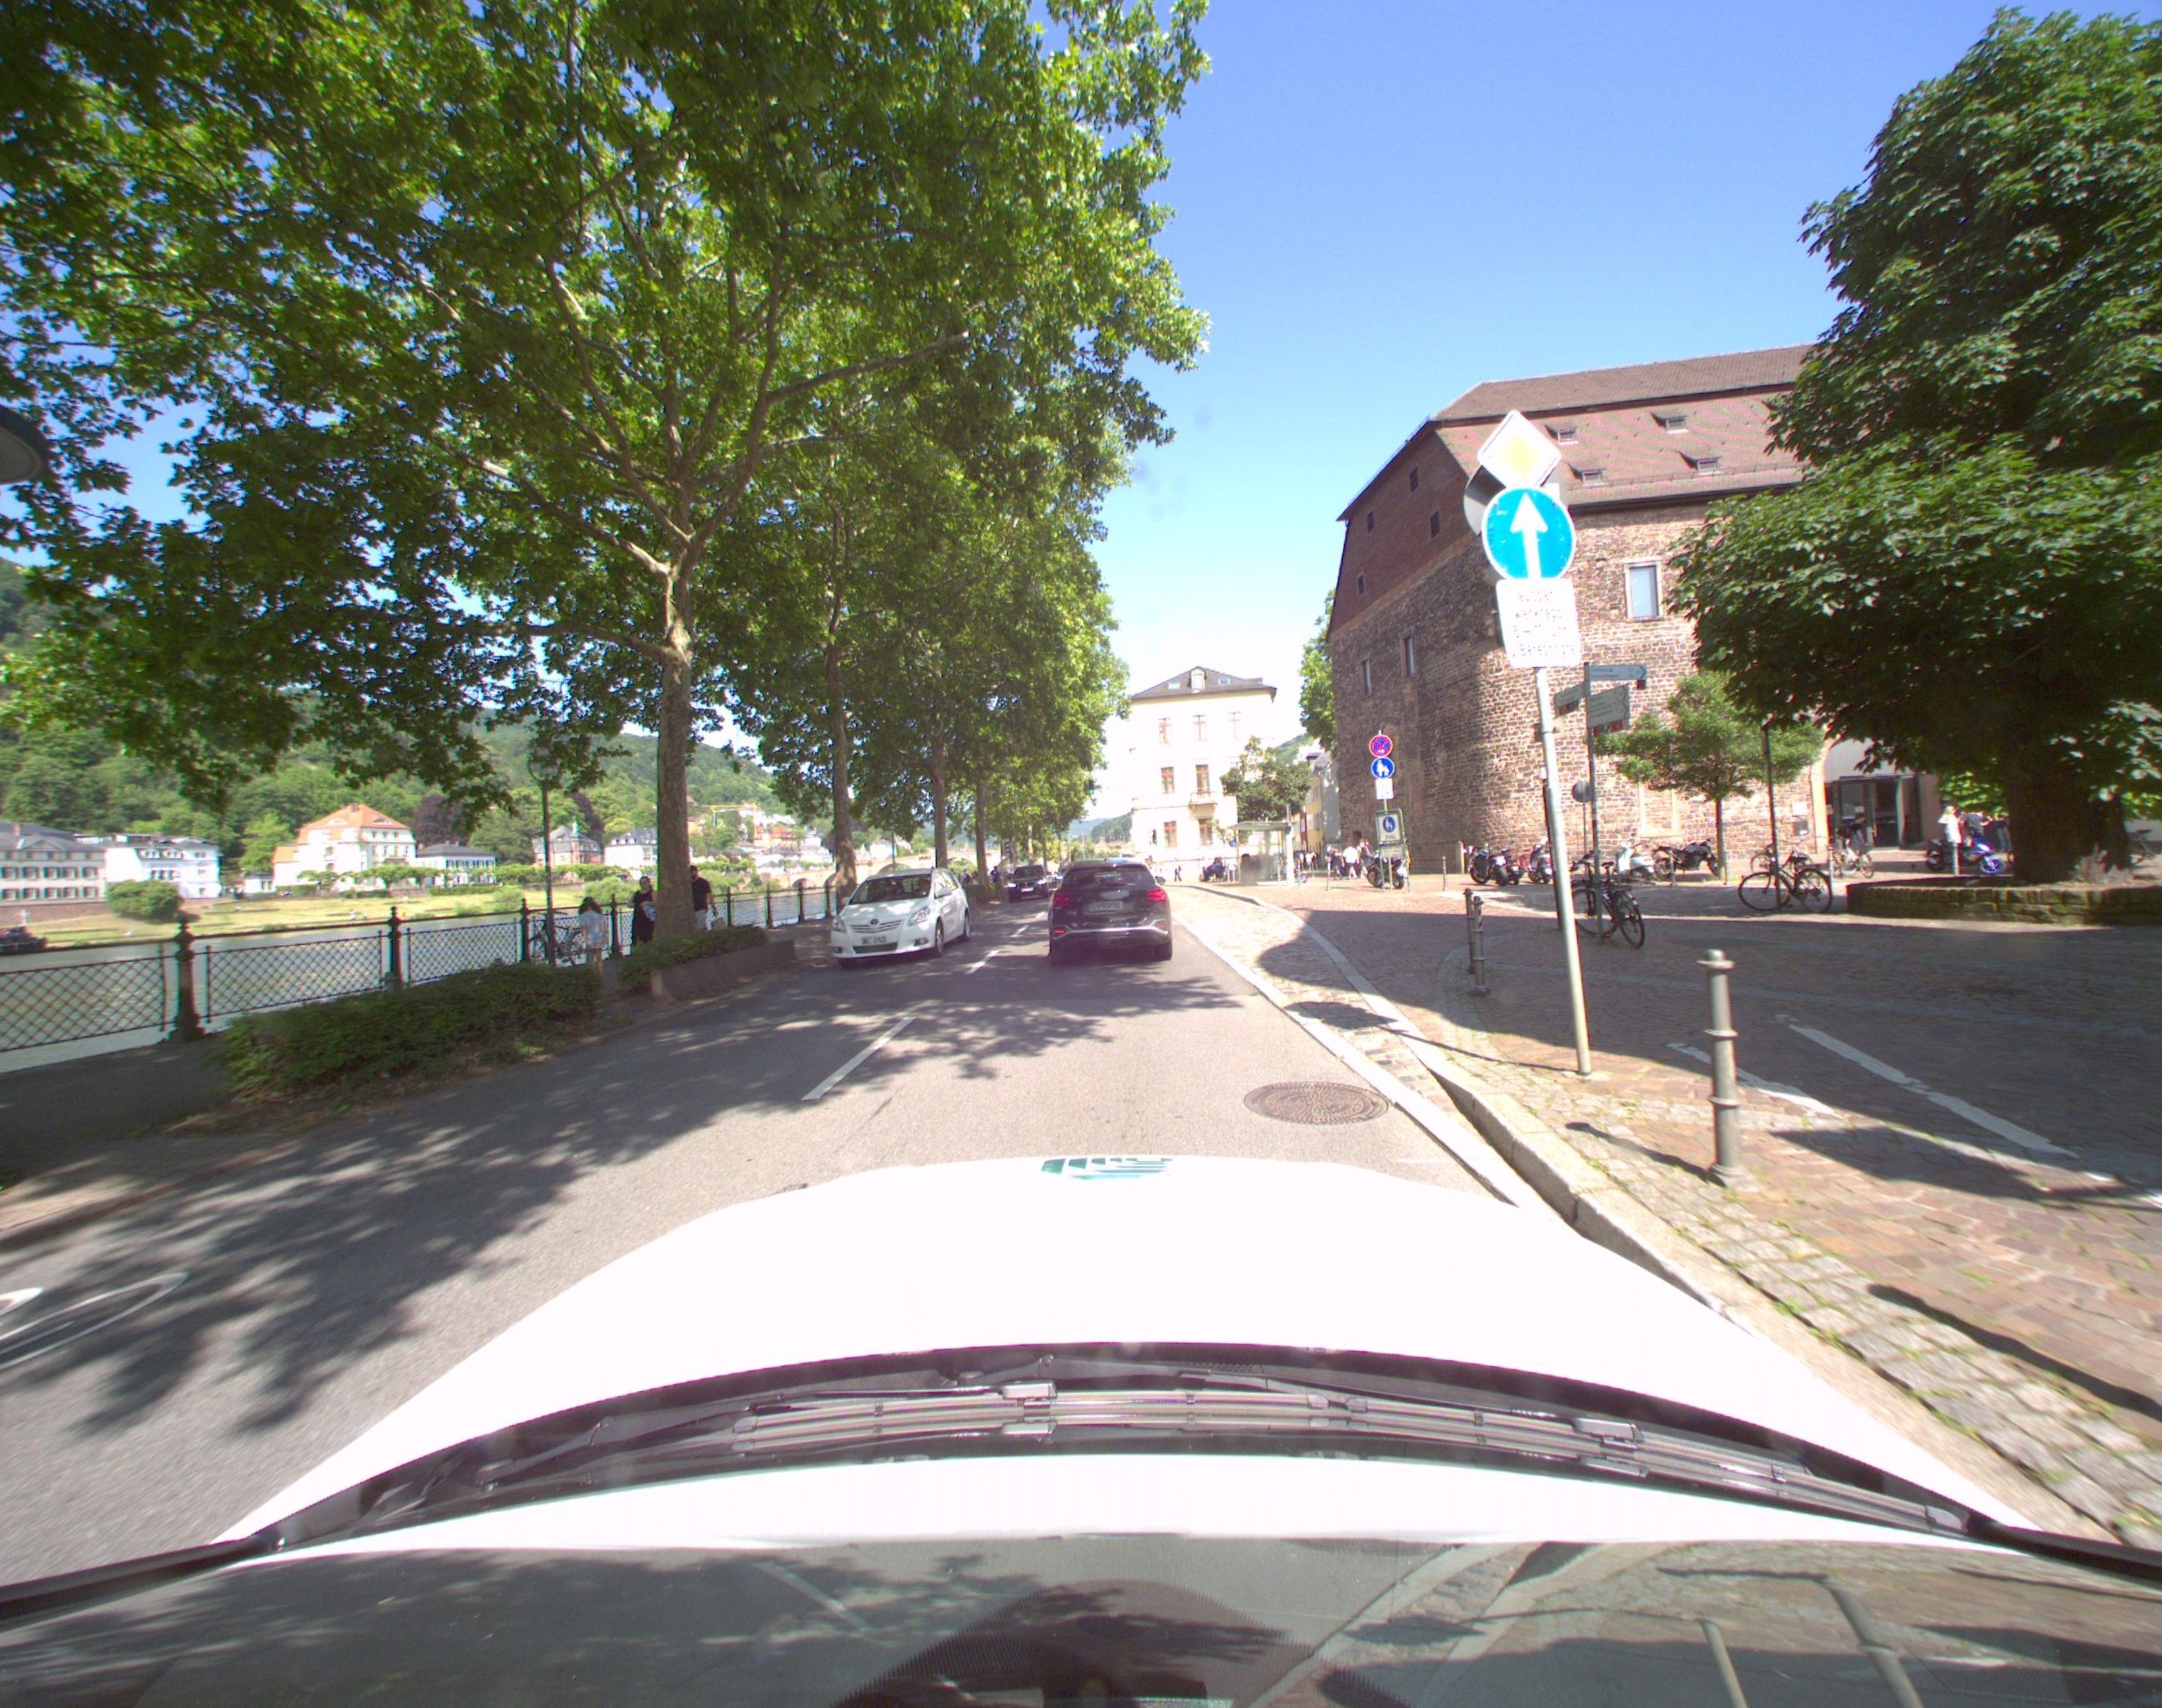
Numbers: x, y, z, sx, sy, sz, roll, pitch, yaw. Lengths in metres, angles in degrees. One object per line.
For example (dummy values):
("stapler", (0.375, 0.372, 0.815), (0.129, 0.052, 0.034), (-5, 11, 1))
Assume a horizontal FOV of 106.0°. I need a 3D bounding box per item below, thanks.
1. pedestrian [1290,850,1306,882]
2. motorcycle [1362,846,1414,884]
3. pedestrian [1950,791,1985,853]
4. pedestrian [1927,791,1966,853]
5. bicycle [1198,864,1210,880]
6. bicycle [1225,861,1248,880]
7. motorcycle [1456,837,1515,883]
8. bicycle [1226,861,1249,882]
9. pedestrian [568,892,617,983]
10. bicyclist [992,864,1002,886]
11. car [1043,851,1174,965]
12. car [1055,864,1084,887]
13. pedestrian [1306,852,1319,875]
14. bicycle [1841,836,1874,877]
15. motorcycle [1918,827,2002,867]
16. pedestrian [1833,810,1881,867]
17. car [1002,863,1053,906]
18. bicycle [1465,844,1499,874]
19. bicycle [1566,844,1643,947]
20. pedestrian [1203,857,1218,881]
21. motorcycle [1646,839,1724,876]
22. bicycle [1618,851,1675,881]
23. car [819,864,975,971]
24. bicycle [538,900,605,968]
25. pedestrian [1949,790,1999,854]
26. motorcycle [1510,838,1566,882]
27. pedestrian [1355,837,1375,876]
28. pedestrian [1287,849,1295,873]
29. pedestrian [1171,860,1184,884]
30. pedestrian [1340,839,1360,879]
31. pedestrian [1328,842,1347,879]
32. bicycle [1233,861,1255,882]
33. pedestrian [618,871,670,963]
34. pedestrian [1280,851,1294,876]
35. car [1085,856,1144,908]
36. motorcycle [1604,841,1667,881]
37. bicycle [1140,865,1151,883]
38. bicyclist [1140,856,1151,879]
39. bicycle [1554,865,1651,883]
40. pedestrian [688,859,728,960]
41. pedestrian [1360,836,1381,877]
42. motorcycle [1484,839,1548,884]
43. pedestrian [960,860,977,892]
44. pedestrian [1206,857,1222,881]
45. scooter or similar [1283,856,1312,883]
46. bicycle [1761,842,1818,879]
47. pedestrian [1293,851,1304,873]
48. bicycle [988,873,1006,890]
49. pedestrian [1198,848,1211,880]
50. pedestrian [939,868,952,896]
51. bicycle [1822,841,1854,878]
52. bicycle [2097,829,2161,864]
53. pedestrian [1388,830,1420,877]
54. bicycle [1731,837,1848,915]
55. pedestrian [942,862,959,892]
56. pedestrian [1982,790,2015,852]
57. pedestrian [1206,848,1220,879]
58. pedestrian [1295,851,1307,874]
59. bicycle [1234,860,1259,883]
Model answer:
("pedestrian", (9.533, 0.540, 35.756), (0.555, 1.385, 0.588), (-1, -2, 4))
("motorcycle", (8.859, 0.324, 23.619), (0.564, 1.012, 2.490), (-3, -1, 1))
("pedestrian", (29.879, -1.069, 27.454), (0.557, 2.014, 0.655), (-2, -2, 30))
("pedestrian", (28.948, -1.043, 27.235), (0.738, 2.014, 0.793), (0, -2, -39))
("bicycle", (7.421, 1.087, 49.200), (0.299, 0.964, 1.183), (-1, -2, -11))
("bicycle", (8.208, 0.865, 43.000), (1.187, 1.016, 0.178), (0, -2, -17))
("motorcycle", (11.770, 0.193, 23.767), (0.653, 1.266, 2.201), (-2, -2, 2))
("bicycle", (8.126, 0.904, 42.269), (1.205, 1.035, 0.178), (0, -2, -17))
("pedestrian", (-7.605, 1.289, 12.684), (0.476, 1.363, 0.418), (-2, -1, 6))
("bicyclist", (-5.148, 1.282, 49.772), (0.565, 1.311, 0.551), (-1, -2, -3))
("car", (0.436, 0.756, 12.977), (1.736, 1.509, 3.648), (-2, -1, 2))
("car", (-0.907, 1.739, 65.637), (1.985, 1.807, 4.003), (-1, -2, 3))
("pedestrian", (20.536, 0.839, 72.216), (0.936, 2.014, 0.808), (-1, -2, 2))
("bicycle", (21.216, 0.070, 22.262), (0.356, 1.085, 1.390), (-2, -1, 33))
("motorcycle", (23.574, -0.166, 21.880), (0.386, 1.034, 1.610), (-1, -2, -5))
("pedestrian", (23.431, -0.462, 24.614), (0.799, 1.662, 0.660), (-4, -1, 26))
("car", (-2.496, 1.406, 39.274), (1.806, 1.725, 4.423), (-8, -1, 2))
("bicycle", (16.634, 0.231, 33.811), (0.388, 1.209, 1.715), (-1, -2, -6))
("bicycle", (6.642, 0.484, 10.405), (0.192, 1.204, 1.775), (-2, 0, 13))
("pedestrian", (6.763, 0.768, 42.537), (0.662, 1.231, 0.640), (-1, -2, -4))
("motorcycle", (18.223, 0.108, 24.592), (1.854, 1.054, 0.481), (-1, -2, 9))
("bicycle", (16.439, 0.334, 23.721), (0.352, 0.820, 1.926), (-1, 0, 1))
("car", (-3.276, 1.061, 15.367), (1.732, 1.572, 4.093), (-6, -1, 2))
("bicycle", (-9.078, 1.406, 14.556), (0.358, 1.091, 1.296), (0, -1, 1))
("pedestrian", (28.719, -1.011, 26.207), (0.691, 2.014, 0.769), (-1, -2, -11))
("motorcycle", (13.558, 0.205, 24.205), (0.544, 1.235, 2.031), (-1, -2, 2))
("pedestrian", (14.028, 0.127, 40.305), (0.666, 1.920, 0.821), (-1, -2, 1))
("pedestrian", (14.631, 0.511, 56.674), (0.447, 1.681, 0.467), (-1, -2, 5))
("pedestrian", (6.149, 1.161, 51.839), (0.691, 1.500, 0.513), (-1, -2, -3))
("pedestrian", (13.183, 0.253, 39.899), (0.666, 1.884, 0.821), (-1, -2, 1))
("pedestrian", (12.937, 0.323, 41.094), (0.649, 1.802, 0.847), (-2, -1, 1))
("bicycle", (8.320, 0.893, 41.521), (1.160, 1.070, 0.178), (0, -2, -17))
("pedestrian", (-8.293, 1.176, 15.467), (0.599, 1.685, 0.583), (-3, -1, 0))
("pedestrian", (17.093, 0.795, 67.491), (0.941, 2.014, 0.808), (-1, -2, 2))
("car", (1.099, 0.888, 26.807), (1.786, 1.595, 3.400), (-1, -1, 2))
("motorcycle", (15.407, 0.207, 22.675), (0.505, 1.073, 1.840), (-1, -2, 2))
("bicycle", (4.073, 1.256, 51.497), (0.436, 1.086, 1.675), (-1, -2, -2))
("bicyclist", (4.071, 0.853, 51.500), (0.604, 1.450, 0.590), (-1, -2, -3))
("bicycle", (13.382, 0.523, 20.957), (1.914, 0.381, 0.921), (-2, -2, 16))
("pedestrian", (-7.081, 1.037, 15.465), (0.532, 1.887, 0.437), (-1, -1, 1))
("pedestrian", (14.627, 0.134, 41.131), (0.727, 2.014, 0.878), (-1, -2, 1))
("motorcycle", (12.652, 0.236, 23.769), (0.672, 1.235, 2.313), (-1, -2, 2))
("pedestrian", (-7.179, 1.386, 51.894), (0.906, 2.014, 0.586), (-1, -2, 6))
("pedestrian", (6.830, 0.773, 41.779), (0.662, 1.212, 0.640), (-1, -2, -4))
("scooter or similar", (8.743, 0.624, 32.912), (1.085, 1.066, 0.323), (-1, -2, -1))
("bicycle", (19.534, 0.188, 22.470), (0.358, 0.966, 1.381), (-1, -2, 1))
("pedestrian", (15.131, 0.565, 56.643), (0.619, 1.532, 0.467), (-1, -2, 5))
("bicycle", (-5.147, 1.707, 49.774), (1.091, 1.006, 0.303), (-1, -2, -5))
("pedestrian", (8.070, 0.662, 53.229), (0.632, 2.014, 0.670), (-2, -2, 31))
("pedestrian", (-8.110, 1.680, 48.787), (0.621, 1.619, 0.586), (-1, -2, 6))
("bicycle", (20.298, 0.160, 21.854), (0.356, 0.949, 1.390), (-2, -2, 33))
("bicycle", (27.322, -0.186, 20.924), (0.418, 0.879, 1.588), (-1, -2, 1))
("pedestrian", (13.833, -0.025, 34.882), (0.833, 1.948, 0.906), (-2, -1, -36))
("bicycle", (11.368, 0.331, 13.142), (0.444, 1.162, 1.732), (-3, -1, 5))
("pedestrian", (-7.971, 1.434, 49.754), (0.906, 1.811, 0.586), (-1, -3, 6))
("pedestrian", (30.286, -1.085, 26.872), (0.441, 2.014, 0.506), (-1, -2, -10))
("pedestrian", (8.514, 0.621, 52.543), (0.632, 2.014, 0.670), (-2, -2, 31))
("pedestrian", (19.558, 0.785, 72.307), (0.836, 2.014, 0.738), (-1, -2, 2))
("bicycle", (8.291, 0.855, 40.756), (1.306, 1.128, 0.178), (0, -2, -17))
